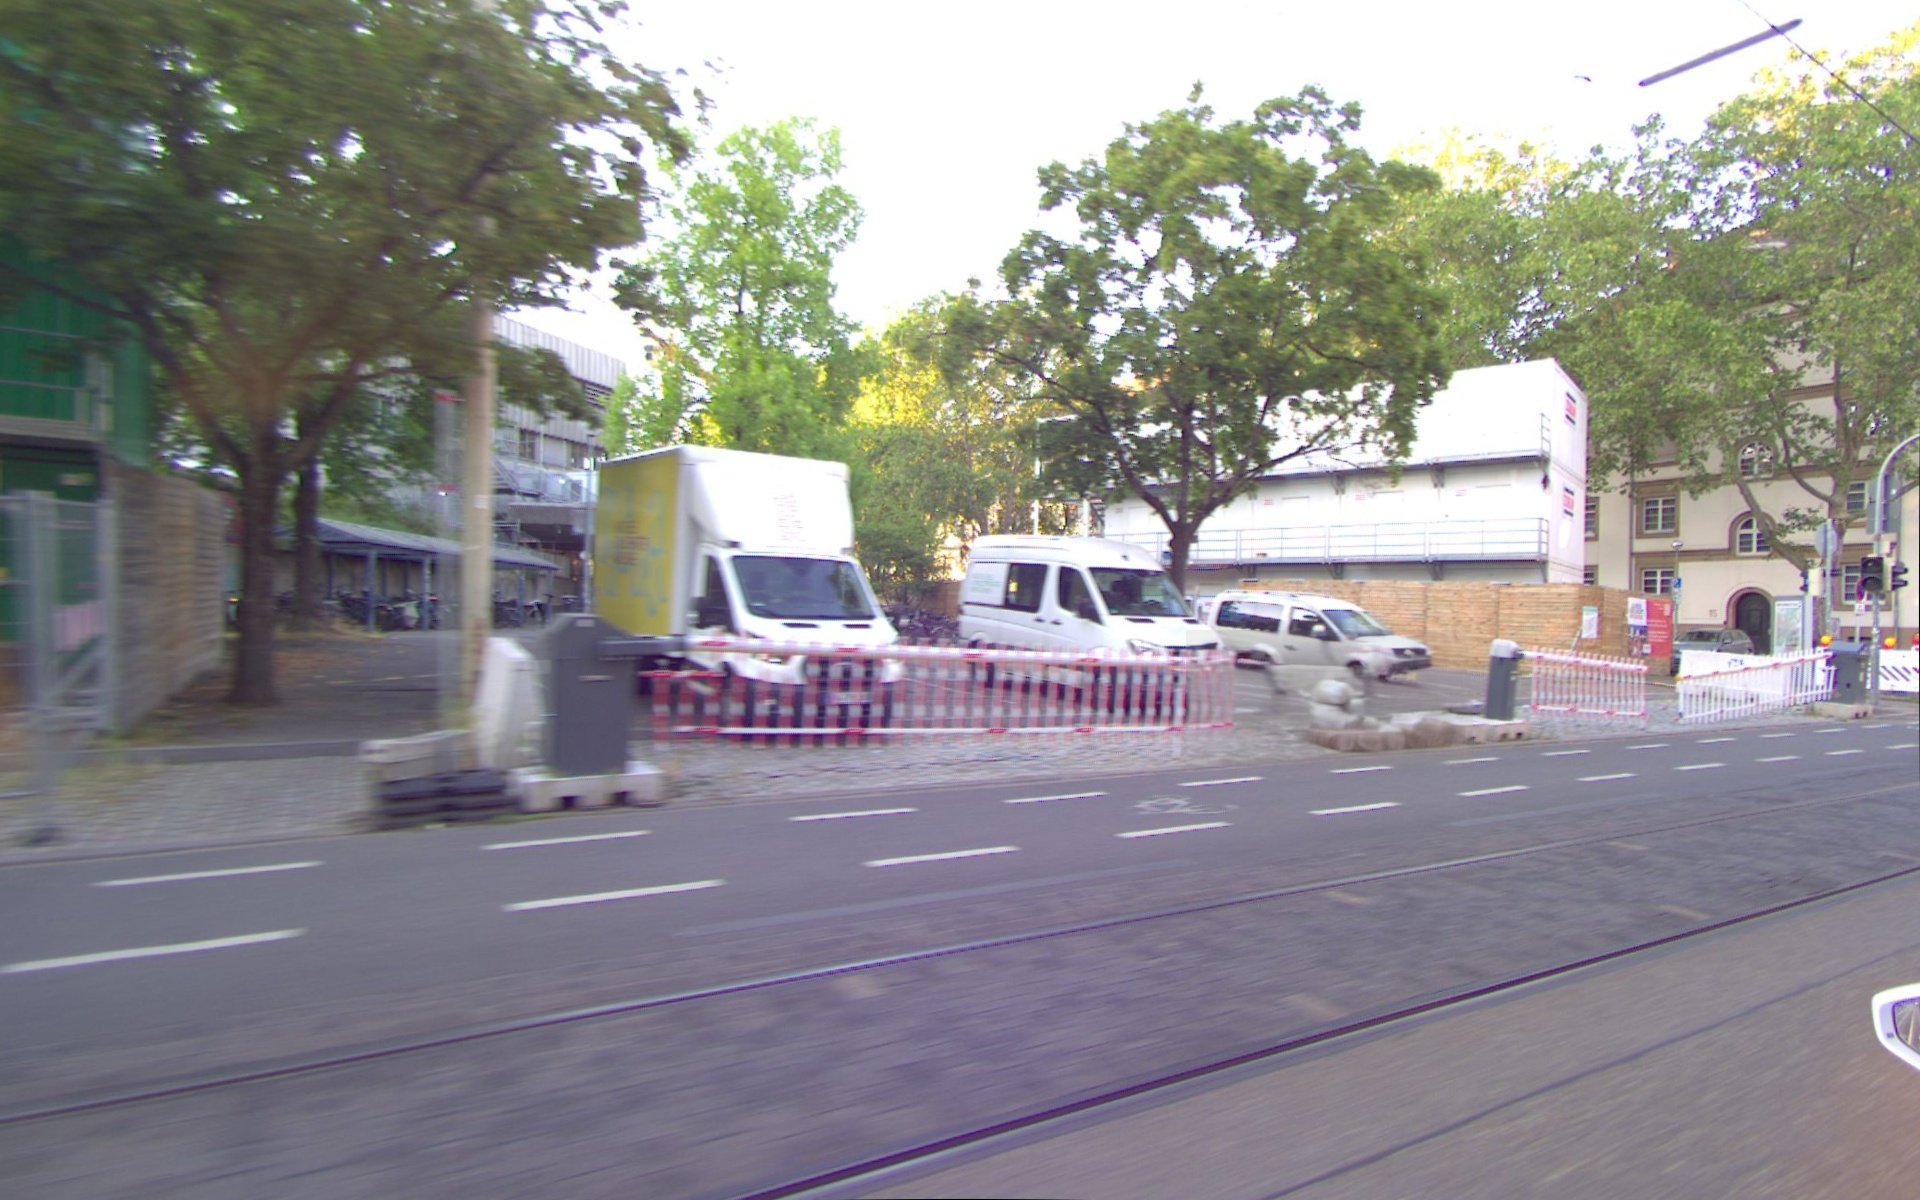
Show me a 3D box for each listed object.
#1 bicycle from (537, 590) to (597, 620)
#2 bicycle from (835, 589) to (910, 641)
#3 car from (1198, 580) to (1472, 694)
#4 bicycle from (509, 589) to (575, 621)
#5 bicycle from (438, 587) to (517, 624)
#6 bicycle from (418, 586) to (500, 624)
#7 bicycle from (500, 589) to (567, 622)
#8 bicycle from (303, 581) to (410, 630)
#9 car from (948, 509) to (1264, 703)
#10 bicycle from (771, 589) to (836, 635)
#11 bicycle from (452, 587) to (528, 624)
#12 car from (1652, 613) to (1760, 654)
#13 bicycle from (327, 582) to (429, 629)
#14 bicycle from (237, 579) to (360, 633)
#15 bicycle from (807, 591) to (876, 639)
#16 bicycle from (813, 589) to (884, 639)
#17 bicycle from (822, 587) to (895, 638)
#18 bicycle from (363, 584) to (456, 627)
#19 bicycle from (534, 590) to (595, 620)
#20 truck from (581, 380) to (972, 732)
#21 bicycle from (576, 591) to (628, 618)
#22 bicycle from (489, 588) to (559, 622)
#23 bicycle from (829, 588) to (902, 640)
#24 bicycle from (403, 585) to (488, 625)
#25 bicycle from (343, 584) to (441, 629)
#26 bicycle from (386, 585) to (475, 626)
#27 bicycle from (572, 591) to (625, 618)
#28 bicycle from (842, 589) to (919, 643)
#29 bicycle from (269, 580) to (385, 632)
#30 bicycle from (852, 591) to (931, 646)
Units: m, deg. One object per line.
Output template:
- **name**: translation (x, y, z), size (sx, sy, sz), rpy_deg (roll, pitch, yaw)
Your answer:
- **bicycle**: translation (-16.571, 0.211, 42.432), size (2.226, 1.197, 0.810), rpy_deg (1, 0, -14)
- **bicycle**: translation (-2.368, 0.415, 27.351), size (1.951, 1.387, 0.539), rpy_deg (2, 0, -27)
- **car**: translation (6.983, 0.610, 19.308), size (1.990, 1.898, 4.812), rpy_deg (1, 0, -28)
- **bicycle**: translation (-16.180, 0.202, 38.928), size (2.226, 1.197, 0.810), rpy_deg (1, 0, -14)
- **bicycle**: translation (-16.176, 0.177, 33.730), size (2.226, 1.197, 0.810), rpy_deg (1, 0, -14)
- **bicycle**: translation (-16.281, 0.169, 32.705), size (2.226, 1.197, 0.810), rpy_deg (1, 0, -14)
- **bicycle**: translation (-16.076, 0.201, 37.915), size (2.226, 1.197, 0.810), rpy_deg (1, 0, -14)
- **bicycle**: translation (-15.677, 0.148, 26.154), size (2.226, 1.197, 0.810), rpy_deg (1, 0, -14)
- **car**: translation (2.138, 0.070, 16.400), size (2.206, 2.632, 5.187), rpy_deg (1, 0, -33)
- **bicycle**: translation (-4.967, 0.389, 31.861), size (1.951, 1.387, 0.539), rpy_deg (2, 0, -27)
- **bicycle**: translation (-16.156, 0.182, 34.611), size (2.226, 1.197, 0.810), rpy_deg (1, 0, -14)
- **car**: translation (28.863, 1.254, 38.854), size (4.420, 1.378, 1.745), rpy_deg (-1, 1, -30)
- **bicycle**: translation (-15.791, 0.154, 27.297), size (2.226, 1.197, 0.810), rpy_deg (1, 0, -14)
- **bicycle**: translation (-15.469, 0.142, 23.554), size (2.226, 1.197, 0.810), rpy_deg (1, 0, -14)
- **bicycle**: translation (-3.503, 0.447, 29.695), size (1.951, 1.387, 0.539), rpy_deg (2, 0, -27)
- **bicycle**: translation (-3.222, 0.411, 29.034), size (1.951, 1.387, 0.539), rpy_deg (2, 0, -27)
- **bicycle**: translation (-2.874, 0.366, 28.513), size (1.951, 1.387, 0.539), rpy_deg (2, 0, -27)
- **bicycle**: translation (-16.039, 0.160, 29.312), size (2.226, 1.197, 0.810), rpy_deg (1, 0, -14)
- **bicycle**: translation (-16.262, 0.212, 41.322), size (2.226, 1.197, 0.810), rpy_deg (1, 0, -14)
- **truck**: translation (-2.901, -0.460, 13.542), size (2.540, 3.474, 7.013), rpy_deg (1, 0, -34)
- **bicycle**: translation (-17.103, 0.219, 47.989), size (2.226, 1.197, 0.810), rpy_deg (1, 0, -14)
- **bicycle**: translation (-16.043, 0.197, 36.974), size (2.226, 1.197, 0.810), rpy_deg (1, 0, -14)
- **bicycle**: translation (-2.615, 0.395, 27.877), size (1.951, 1.387, 0.539), rpy_deg (2, 0, -27)
- **bicycle**: translation (-16.194, 0.166, 31.648), size (2.226, 1.197, 0.810), rpy_deg (1, 0, -14)
- **bicycle**: translation (-15.981, 0.181, 28.308), size (2.226, 1.197, 0.810), rpy_deg (1, 0, -14)
- **bicycle**: translation (-16.023, 0.166, 30.468), size (2.226, 1.197, 0.810), rpy_deg (1, 0, -14)
- **bicycle**: translation (-16.873, 0.220, 46.957), size (2.226, 1.197, 0.810), rpy_deg (1, 0, -14)
- **bicycle**: translation (-2.106, 0.432, 26.610), size (1.951, 1.387, 0.539), rpy_deg (2, 0, -27)
- **bicycle**: translation (-15.430, 0.148, 24.535), size (2.226, 1.197, 0.810), rpy_deg (1, 0, -14)
- **bicycle**: translation (-1.756, 0.479, 25.890), size (1.951, 1.387, 0.539), rpy_deg (2, 0, -27)
